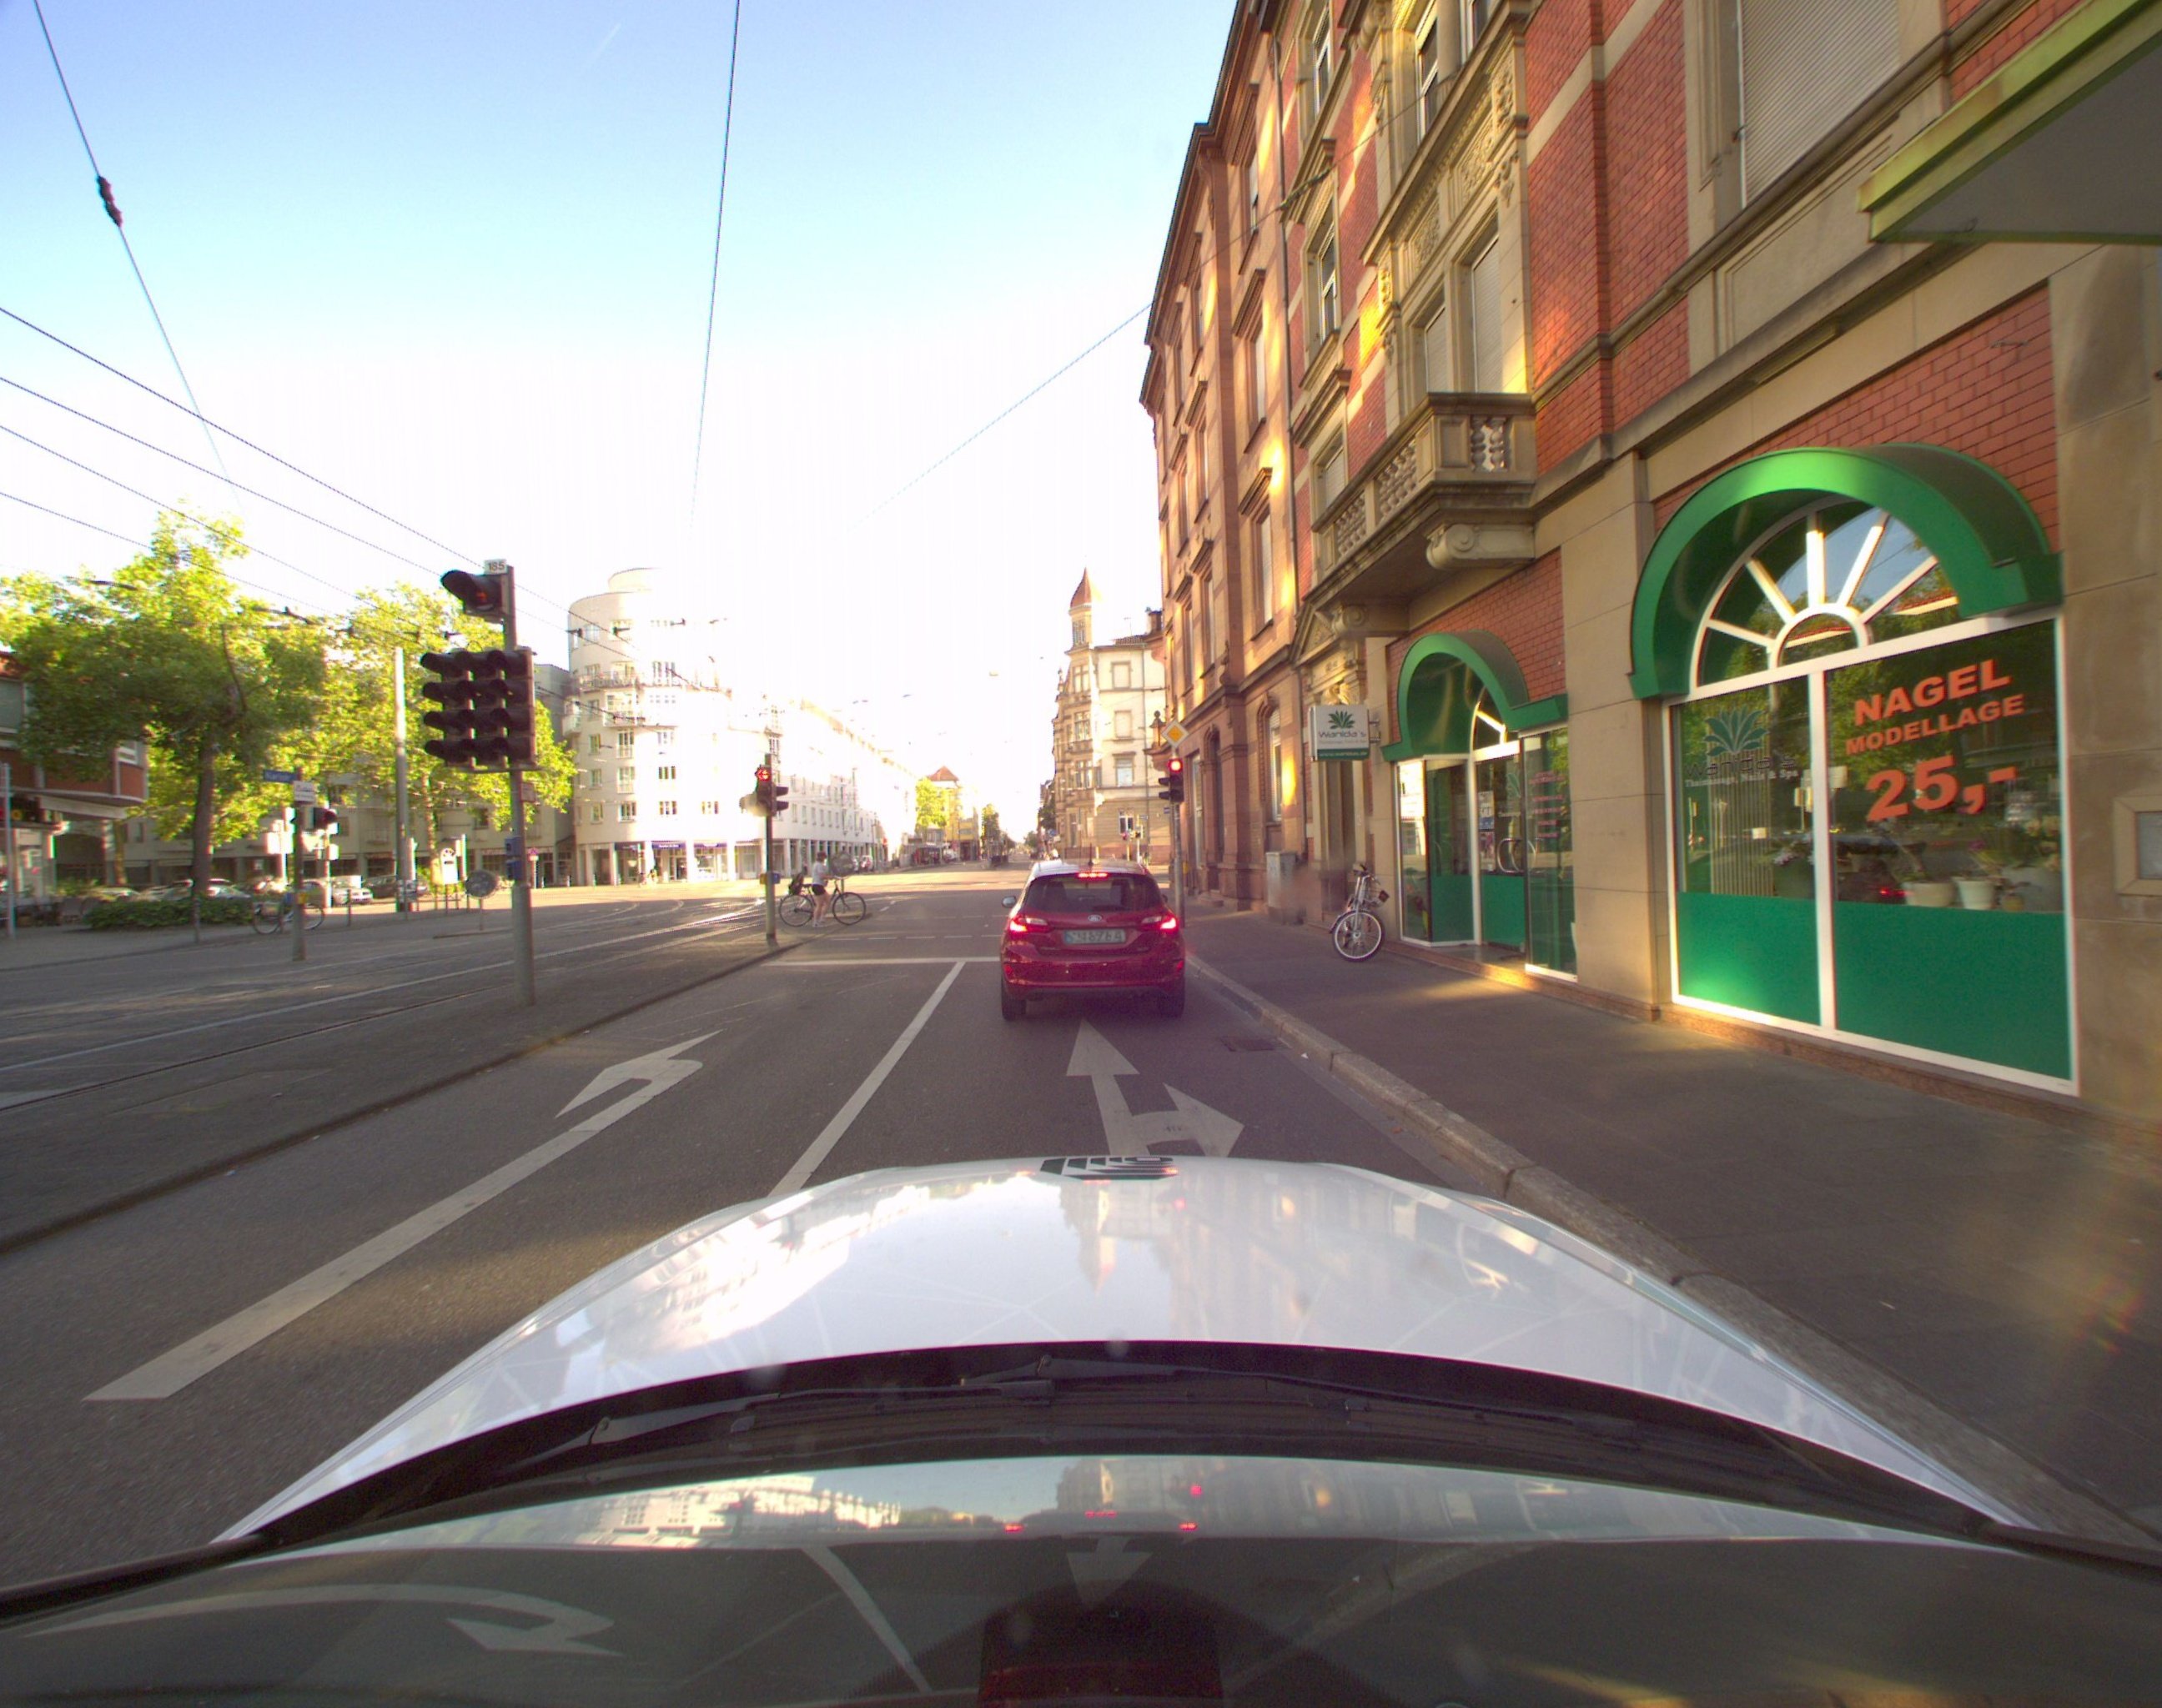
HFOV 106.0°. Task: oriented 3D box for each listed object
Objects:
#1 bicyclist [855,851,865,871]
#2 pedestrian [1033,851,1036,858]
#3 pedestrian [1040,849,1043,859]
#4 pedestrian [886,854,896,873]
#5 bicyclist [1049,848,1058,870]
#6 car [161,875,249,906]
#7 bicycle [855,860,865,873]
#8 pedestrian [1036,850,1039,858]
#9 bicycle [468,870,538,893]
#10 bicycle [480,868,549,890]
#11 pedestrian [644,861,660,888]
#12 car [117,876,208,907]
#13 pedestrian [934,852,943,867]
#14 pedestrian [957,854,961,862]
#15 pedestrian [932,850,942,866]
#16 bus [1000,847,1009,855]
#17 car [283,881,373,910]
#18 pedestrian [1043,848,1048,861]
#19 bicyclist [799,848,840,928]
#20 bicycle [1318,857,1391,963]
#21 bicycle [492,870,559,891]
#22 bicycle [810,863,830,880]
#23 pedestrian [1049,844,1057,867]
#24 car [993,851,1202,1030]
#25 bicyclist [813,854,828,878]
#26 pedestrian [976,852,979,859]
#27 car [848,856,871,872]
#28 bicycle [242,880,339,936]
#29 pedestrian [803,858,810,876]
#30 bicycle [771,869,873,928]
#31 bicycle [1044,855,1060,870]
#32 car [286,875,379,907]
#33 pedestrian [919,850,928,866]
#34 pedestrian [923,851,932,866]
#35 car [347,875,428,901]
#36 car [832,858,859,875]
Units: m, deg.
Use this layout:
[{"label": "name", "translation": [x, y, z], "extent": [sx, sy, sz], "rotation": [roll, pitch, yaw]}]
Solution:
[{"label": "bicyclist", "translation": [-20.704, 0.642, 76.266], "extent": [0.810, 1.821, 0.987], "rotation": [-2, 0, -18]}, {"label": "pedestrian", "translation": [-11.796, 0.139, 206.920], "extent": [0.576, 1.887, 0.669], "rotation": [-2, 0, -3]}, {"label": "pedestrian", "translation": [-8.429, -0.010, 173.392], "extent": [0.576, 2.013, 0.630], "rotation": [-2, 0, -3]}, {"label": "pedestrian", "translation": [-17.547, 0.886, 75.297], "extent": [0.766, 1.730, 0.572], "rotation": [-2, 0, -2]}, {"label": "bicyclist", "translation": [-2.134, 0.365, 63.419], "extent": [0.503, 1.676, 0.539], "rotation": [-2, 0, -32]}, {"label": "car", "translation": [-62.958, 2.569, 58.644], "extent": [1.988, 1.964, 3.998], "rotation": [-2, 0, -1]}, {"label": "bicycle", "translation": [-20.772, 1.155, 76.500], "extent": [0.810, 1.147, 1.998], "rotation": [-2, 0, -18]}, {"label": "pedestrian", "translation": [-10.918, 0.060, 203.195], "extent": [0.576, 1.887, 0.630], "rotation": [-2, 0, -3]}, {"label": "bicycle", "translation": [-45.776, 2.168, 64.519], "extent": [4.688, 1.530, 1.066], "rotation": [-2, 0, -1]}, {"label": "bicycle", "translation": [-45.668, 2.001, 65.662], "extent": [4.688, 1.530, 1.066], "rotation": [-2, 0, -1]}, {"label": "pedestrian", "translation": [-32.276, 1.542, 61.300], "extent": [0.950, 2.013, 0.931], "rotation": [-2, 0, -31]}, {"label": "car", "translation": [-65.876, 2.661, 58.502], "extent": [1.988, 1.964, 3.998], "rotation": [-2, 0, -1]}, {"label": "pedestrian", "translation": [-18.860, 0.742, 107.870], "extent": [1.044, 2.013, 0.957], "rotation": [-2, 0, -6]}, {"label": "pedestrian", "translation": [-25.367, 0.803, 169.407], "extent": [0.522, 1.488, 0.582], "rotation": [-2, 0, -2]}, {"label": "pedestrian", "translation": [-18.690, 0.572, 105.601], "extent": [1.044, 2.013, 0.957], "rotation": [-2, 0, -6]}, {"label": "bus", "translation": [-20.709, -0.748, 219.478], "extent": [1.920, 2.013, 7.132], "rotation": [-2, 0, -2]}, {"label": "car", "translation": [-38.721, 2.123, 41.887], "extent": [3.970, 1.295, 1.781], "rotation": [-2, 0, 22]}, {"label": "pedestrian", "translation": [-5.699, 0.049, 130.338], "extent": [0.575, 2.013, 0.631], "rotation": [-2, 0, 2]}, {"label": "bicyclist", "translation": [-5.494, 0.692, 17.140], "extent": [0.730, 1.627, 0.762], "rotation": [-1, -1, -14]}, {"label": "bicycle", "translation": [3.390, 0.654, 10.218], "extent": [0.710, 1.152, 1.662], "rotation": [-4, 0, 15]}, {"label": "bicycle", "translation": [-45.743, 2.155, 67.056], "extent": [4.688, 1.530, 1.066], "rotation": [-2, 0, -1]}, {"label": "bicycle", "translation": [-18.993, 1.274, 59.293], "extent": [0.806, 1.147, 2.047], "rotation": [-2, 0, -3]}, {"label": "pedestrian", "translation": [-2.523, 0.157, 73.495], "extent": [0.650, 2.013, 0.758], "rotation": [-2, 0, -4]}, {"label": "car", "translation": [-0.021, 0.720, 8.816], "extent": [1.751, 1.466, 3.938], "rotation": [-1, 0, -5]}, {"label": "bicyclist", "translation": [-19.025, 0.859, 59.471], "extent": [0.806, 1.726, 0.793], "rotation": [-2, 0, -4]}, {"label": "pedestrian", "translation": [-25.370, 0.401, 199.126], "extent": [0.631, 1.604, 0.575], "rotation": [-2, 0, -20]}, {"label": "car", "translation": [-24.351, 1.094, 89.731], "extent": [1.698, 1.718, 3.559], "rotation": [-2, 0, -4]}, {"label": "bicycle", "translation": [-20.649, 1.390, 21.321], "extent": [0.669, 1.327, 1.905], "rotation": [1, 0, -1]}, {"label": "pedestrian", "translation": [-25.342, 1.198, 75.201], "extent": [0.524, 1.681, 0.484], "rotation": [-2, 0, -11]}, {"label": "bicycle", "translation": [-5.495, 0.927, 17.381], "extent": [2.021, 1.177, 0.625], "rotation": [-1, -1, -14]}, {"label": "bicycle", "translation": [-2.262, 0.661, 63.646], "extent": [0.530, 1.089, 1.471], "rotation": [-2, 0, -31]}, {"label": "car", "translation": [-42.223, 2.088, 45.969], "extent": [3.981, 1.559, 1.635], "rotation": [-2, 0, 9]}, {"label": "pedestrian", "translation": [-19.986, 0.466, 103.220], "extent": [0.954, 2.013, 1.047], "rotation": [-2, 0, -4]}, {"label": "pedestrian", "translation": [-20.211, 0.585, 107.285], "extent": [1.044, 2.013, 0.957], "rotation": [-2, 0, -6]}, {"label": "car", "translation": [-46.536, 2.284, 54.669], "extent": [3.972, 1.531, 1.617], "rotation": [-2, 1, 1]}, {"label": "car", "translation": [-23.753, 1.224, 82.260], "extent": [1.761, 1.546, 3.458], "rotation": [-2, 0, -3]}]
